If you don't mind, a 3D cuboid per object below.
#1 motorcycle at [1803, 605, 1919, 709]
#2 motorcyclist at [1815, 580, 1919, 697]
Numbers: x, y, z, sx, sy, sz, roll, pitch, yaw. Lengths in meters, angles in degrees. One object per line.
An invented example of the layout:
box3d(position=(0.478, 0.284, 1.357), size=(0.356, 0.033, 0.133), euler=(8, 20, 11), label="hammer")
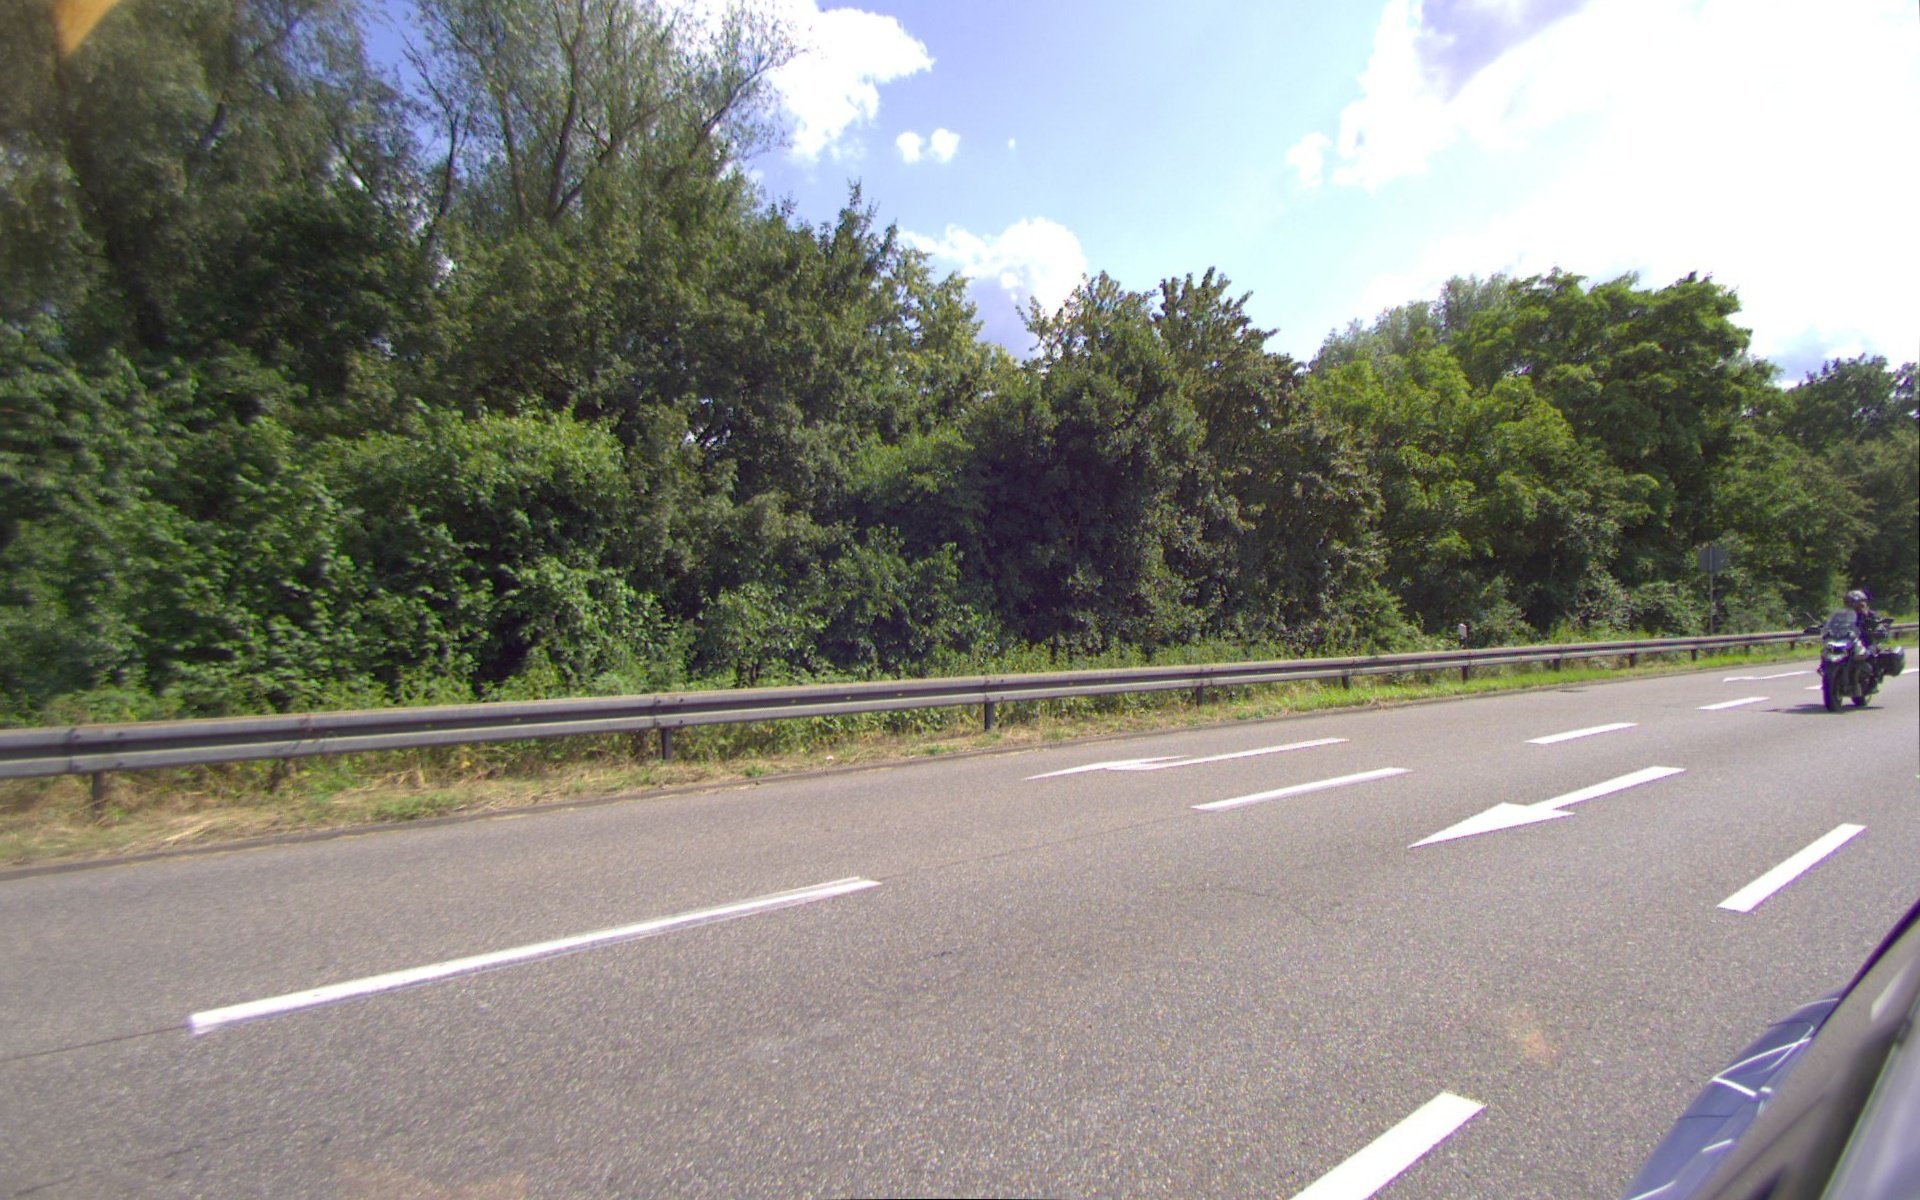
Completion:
box3d(position=(13.215, 0.778, 14.728), size=(2.326, 1.401, 0.939), euler=(0, -1, -37), label="motorcycle")
box3d(position=(13.188, 0.538, 14.711), size=(1.063, 1.611, 0.939), euler=(0, -1, -37), label="motorcyclist")
